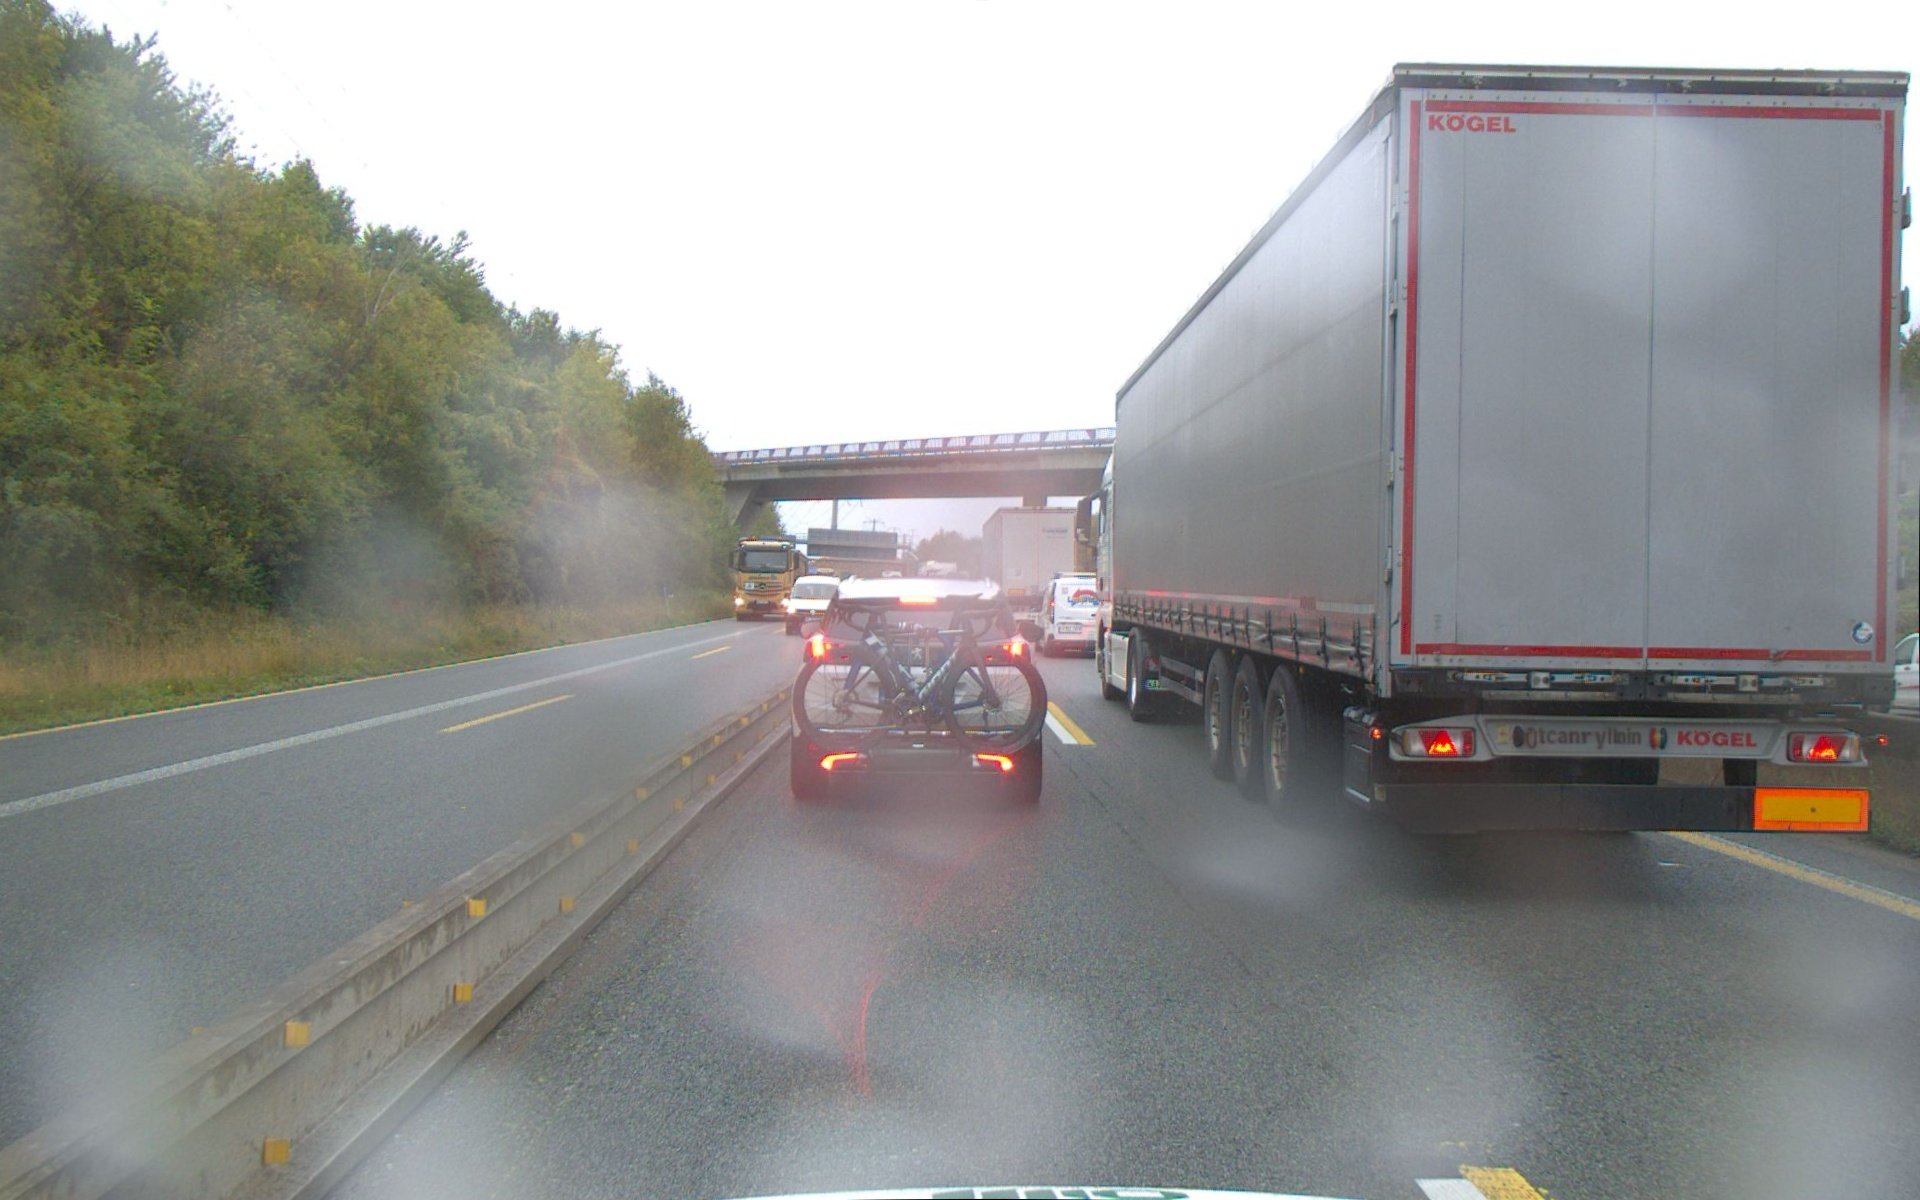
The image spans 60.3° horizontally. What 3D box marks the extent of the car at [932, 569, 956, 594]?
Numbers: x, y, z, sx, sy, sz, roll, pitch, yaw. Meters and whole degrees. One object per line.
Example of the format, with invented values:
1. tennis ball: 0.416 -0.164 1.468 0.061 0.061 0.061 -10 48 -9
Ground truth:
1. car: -1.343 -1.525 137.202 1.953 2.049 4.000 1 0 0

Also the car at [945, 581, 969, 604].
1. car: -0.191 -0.476 111.991 1.605 1.524 3.666 1 0 0

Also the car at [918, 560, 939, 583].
1. car: -3.102 -2.809 164.157 1.953 2.164 4.526 1 0 0

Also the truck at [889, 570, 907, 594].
1. truck: -9.086 -2.632 243.740 2.483 3.411 12.046 1 0 -1

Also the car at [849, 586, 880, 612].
1. car: -5.349 -0.043 92.861 1.652 1.434 3.928 1 0 -2

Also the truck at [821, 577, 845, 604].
1. truck: -18.132 -1.307 236.870 2.626 3.720 12.310 1 0 0

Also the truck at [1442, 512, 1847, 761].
1. truck: 10.173 0.467 25.922 2.469 3.186 9.117 1 0 -1

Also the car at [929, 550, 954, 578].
1. car: -1.656 -3.256 150.074 2.193 2.347 4.571 1 0 0

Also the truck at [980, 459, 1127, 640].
1. truck: 3.126 -1.622 63.263 4.645 5.772 20.377 1 0 1

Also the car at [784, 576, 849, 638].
1. car: -4.495 0.211 52.248 1.774 1.856 4.633 1 0 -2

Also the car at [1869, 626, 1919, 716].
1. car: 21.129 1.518 34.433 1.902 1.861 4.728 1 0 2

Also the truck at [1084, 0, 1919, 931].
1. truck: 3.916 -1.469 17.316 3.898 5.772 20.377 1 0 1

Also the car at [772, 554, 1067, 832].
1. car: -0.220 0.566 12.363 1.773 1.666 4.636 1 0 1

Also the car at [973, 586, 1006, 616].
1. car: 1.524 0.070 86.601 1.605 1.524 3.666 1 0 0

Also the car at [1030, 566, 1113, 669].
1. car: 2.516 0.382 38.123 1.635 2.218 4.535 1 0 1

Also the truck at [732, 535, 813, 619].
1. truck: -8.236 -0.950 74.042 2.483 3.411 12.046 1 0 -1

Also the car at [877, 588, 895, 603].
1. car: -7.110 -0.399 158.683 1.652 1.434 3.928 1 0 -2

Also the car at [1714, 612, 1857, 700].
1. car: 21.104 1.384 42.442 1.693 2.094 4.125 1 0 2

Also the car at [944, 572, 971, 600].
1. car: -0.208 -1.059 125.655 1.953 2.049 4.000 1 0 0
